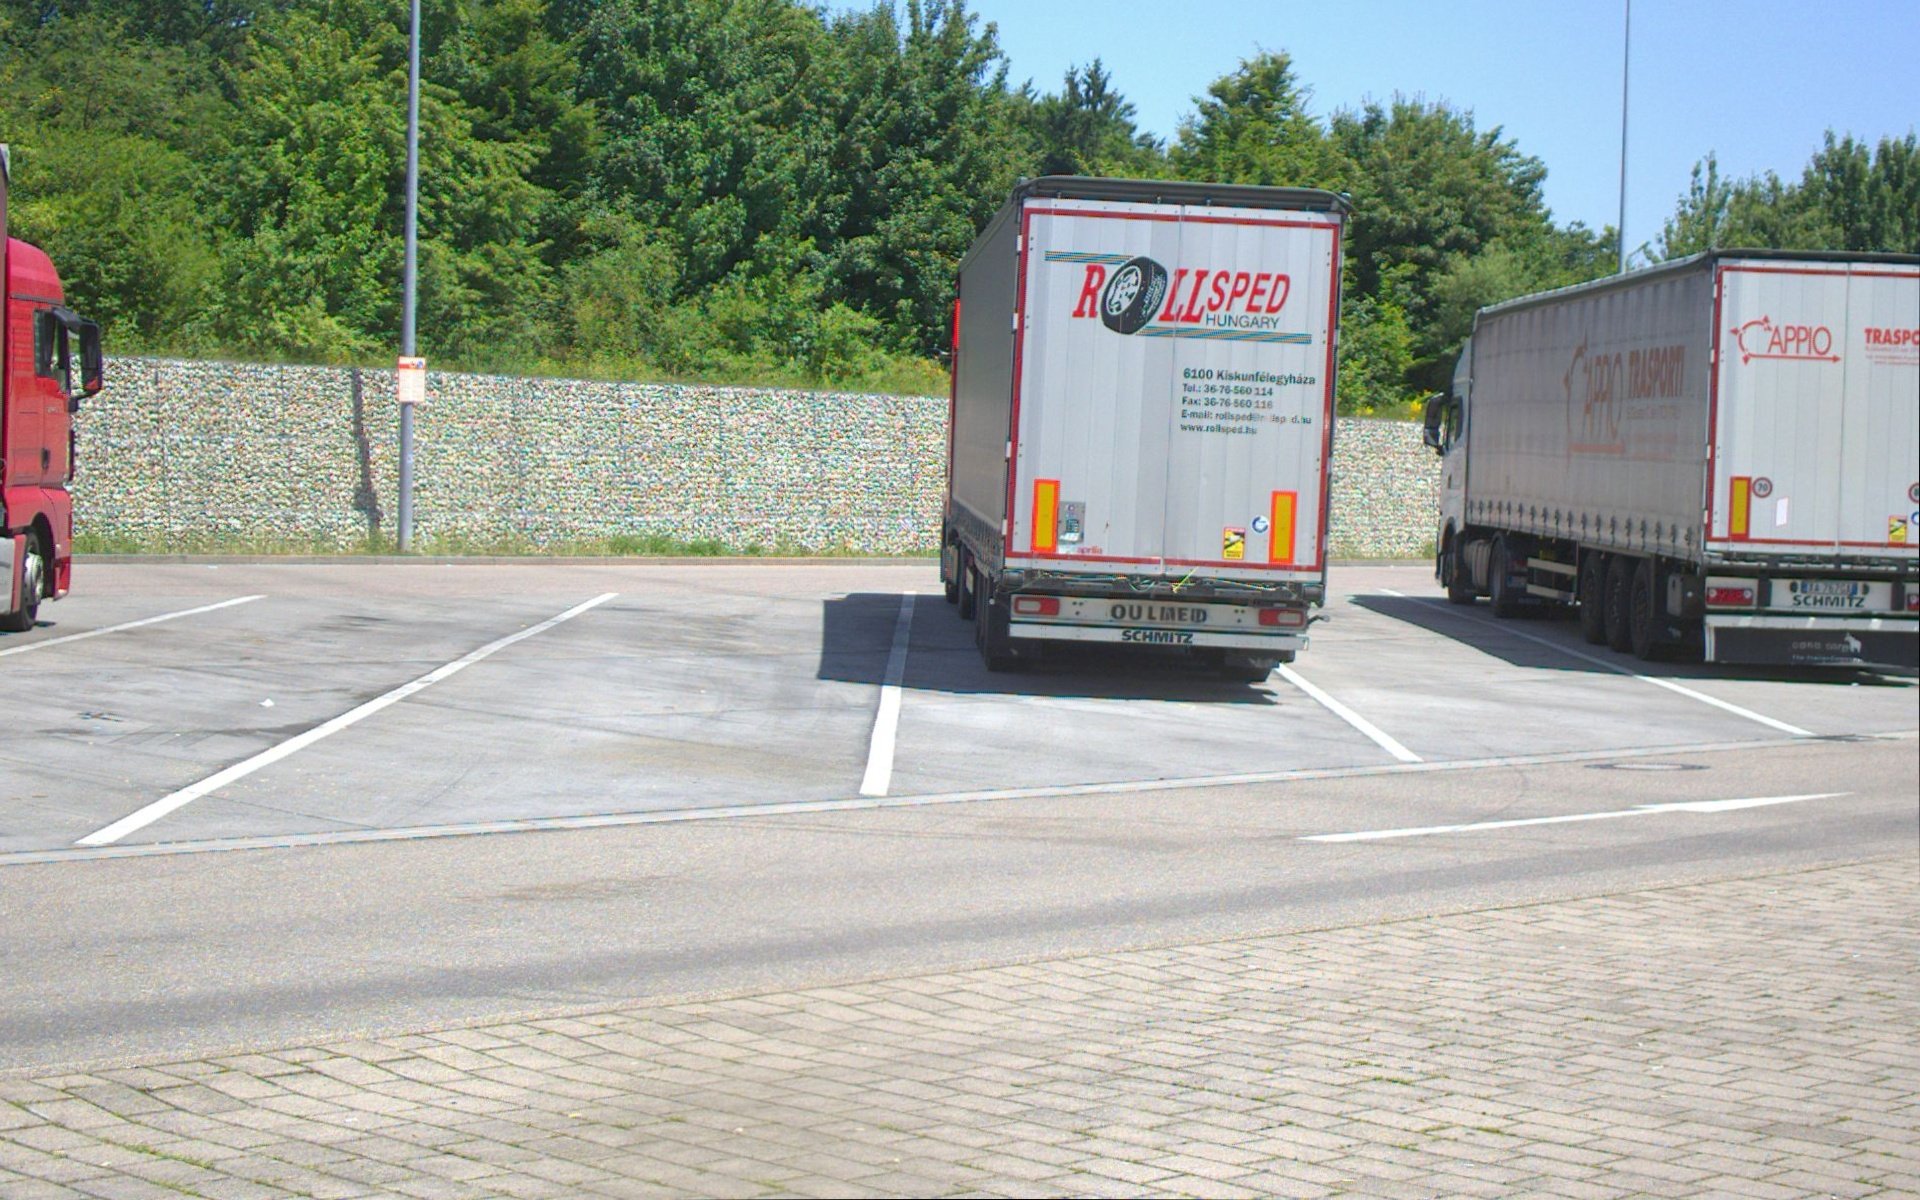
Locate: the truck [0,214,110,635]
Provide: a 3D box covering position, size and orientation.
[{"bbox_3d":[-9.234,-1.505,28.733,2.852,3.416,5.483,2,2,-1],"label":"truck"}]

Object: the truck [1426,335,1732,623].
[{"bbox_3d":[8.065,-1.627,45.494,2.852,3.472,5.483,2,2,-1],"label":"truck"}]

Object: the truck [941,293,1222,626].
[{"bbox_3d":[1.293,-1.630,39.804,2.852,3.472,5.483,2,2,-1],"label":"truck"}]

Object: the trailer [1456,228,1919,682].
[{"bbox_3d":[8.158,-1.630,38.681,2.838,4.118,13.724,2,3,-1],"label":"trailer"}]

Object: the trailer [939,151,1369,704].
[{"bbox_3d":[1.442,-1.624,33.191,2.906,4.118,13.725,2,3,-1],"label":"trailer"}]

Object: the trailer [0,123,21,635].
[{"bbox_3d":[-9.144,-1.490,21.294,2.906,4.118,13.725,2,3,-1],"label":"trailer"}]

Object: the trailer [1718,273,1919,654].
[{"bbox_3d":[11.795,-1.533,39.433,2.838,4.118,13.724,2,3,-1],"label":"trailer"}]
